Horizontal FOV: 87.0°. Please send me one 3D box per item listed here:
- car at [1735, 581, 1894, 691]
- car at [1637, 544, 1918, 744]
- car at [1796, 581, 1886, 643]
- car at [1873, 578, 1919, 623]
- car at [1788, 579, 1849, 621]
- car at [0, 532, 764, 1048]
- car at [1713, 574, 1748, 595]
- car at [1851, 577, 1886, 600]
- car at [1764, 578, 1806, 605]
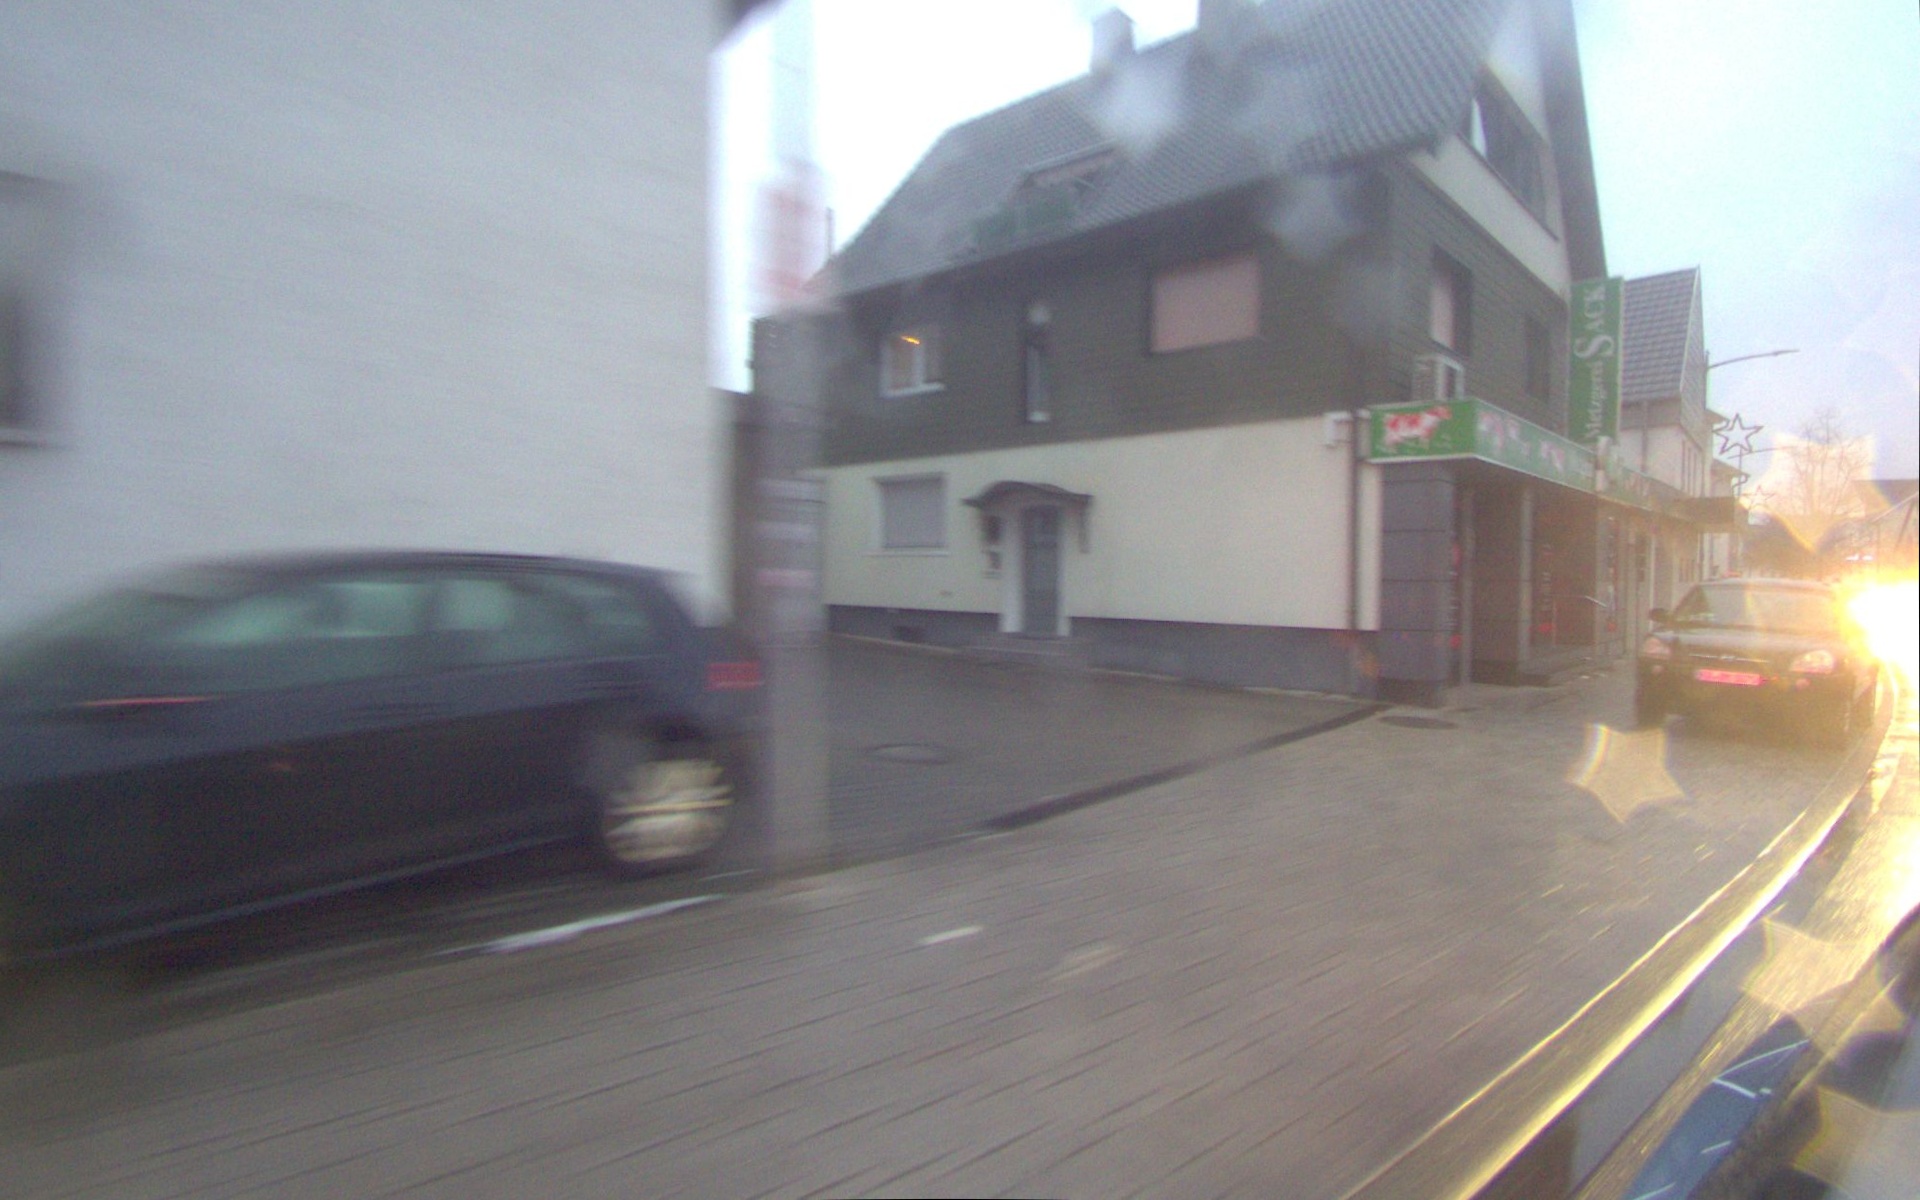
[{"bbox_3d":[13.140,0.486,15.527,1.646,1.432,2.684,5,4,43],"label":"car"},{"bbox_3d":[9.245,0.362,11.333,3.932,1.803,1.773,0,4,-42],"label":"car"},{"bbox_3d":[23.728,0.258,27.337,1.651,1.472,4.176,4,4,40],"label":"car"},{"bbox_3d":[37.349,0.004,39.695,1.898,1.660,4.504,4,3,38],"label":"car"},{"bbox_3d":[34.565,-0.052,40.827,1.661,1.595,4.435,2,2,38],"label":"car"},{"bbox_3d":[-2.841,0.474,3.941,1.762,1.410,3.860,4,3,38],"label":"car"},{"bbox_3d":[70.232,-1.447,92.279,1.901,1.812,4.518,2,2,30],"label":"car"},{"bbox_3d":[64.084,-0.811,71.435,1.730,1.556,3.725,-2,0,41],"label":"car"},{"bbox_3d":[51.242,-0.552,62.930,1.803,1.583,4.247,2,2,37],"label":"car"}]
